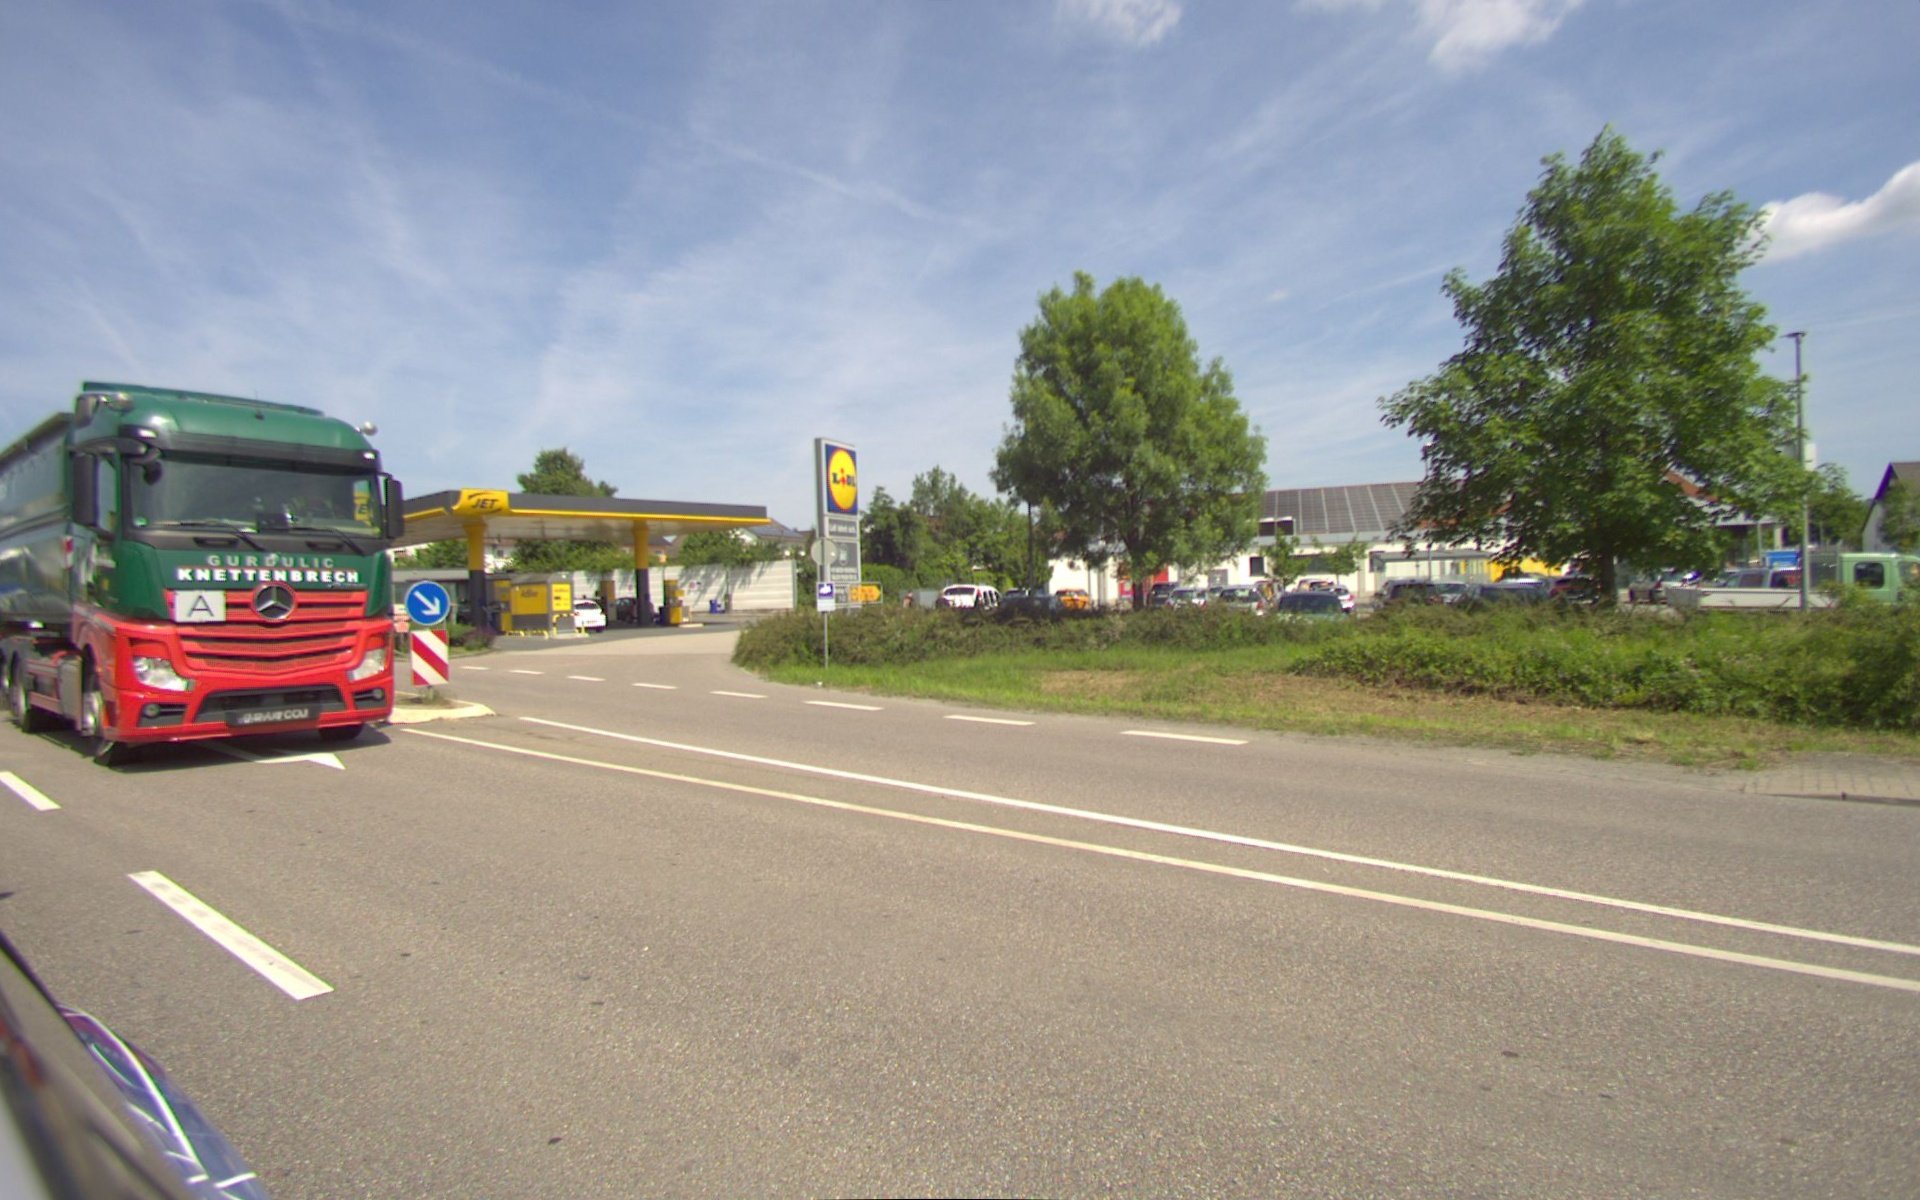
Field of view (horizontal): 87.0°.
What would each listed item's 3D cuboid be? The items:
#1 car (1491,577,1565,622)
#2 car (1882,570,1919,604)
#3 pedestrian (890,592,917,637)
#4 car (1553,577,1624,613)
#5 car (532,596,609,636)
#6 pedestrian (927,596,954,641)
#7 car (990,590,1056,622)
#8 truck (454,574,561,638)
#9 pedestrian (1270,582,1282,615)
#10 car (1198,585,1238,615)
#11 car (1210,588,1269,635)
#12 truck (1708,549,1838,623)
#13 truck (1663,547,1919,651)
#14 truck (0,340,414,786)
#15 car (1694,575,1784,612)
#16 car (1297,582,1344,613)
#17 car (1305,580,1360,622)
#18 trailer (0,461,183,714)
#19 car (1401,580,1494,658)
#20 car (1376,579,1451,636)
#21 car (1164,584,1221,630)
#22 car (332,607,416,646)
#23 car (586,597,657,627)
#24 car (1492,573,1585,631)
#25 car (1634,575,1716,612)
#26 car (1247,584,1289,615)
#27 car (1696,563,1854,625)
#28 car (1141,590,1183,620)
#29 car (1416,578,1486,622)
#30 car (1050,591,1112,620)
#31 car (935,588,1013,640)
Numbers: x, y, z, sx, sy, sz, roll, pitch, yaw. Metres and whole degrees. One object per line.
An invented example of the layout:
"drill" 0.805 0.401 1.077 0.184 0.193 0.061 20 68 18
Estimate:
"car" 20.593 -0.025 36.849 1.767 1.540 3.972 0 0 21
"car" 45.131 -0.594 46.079 4.223 1.553 1.869 0 0 18
"pedestrian" -2.030 0.530 36.355 0.692 1.587 0.812 0 -1 -23
"car" 28.475 -0.233 45.984 1.865 1.553 4.231 0 0 20
"car" -17.757 0.781 46.070 4.001 1.741 1.713 -2 -3 44
"pedestrian" -0.701 0.651 35.860 0.801 1.587 0.701 -1 0 13
"car" 3.431 0.308 54.496 1.765 1.551 3.956 -2 0 33
"truck" -22.099 0.265 49.309 6.278 2.944 2.222 0 0 40
"pedestrian" 14.891 -0.082 47.667 0.501 1.564 0.515 -1 0 16
"car" 13.321 -0.023 52.223 1.868 1.453 3.981 -1 1 15
"car" 9.890 0.367 35.590 1.769 1.513 4.122 -1 1 18
"truck" 27.880 -0.458 34.879 1.981 2.383 3.982 0 0 14
"truck" 21.569 -0.006 25.131 6.296 2.393 2.236 -1 -1 17
"truck" -10.646 -0.267 13.229 10.041 3.950 2.641 -1 0 40
"car" 33.923 -0.278 44.207 1.865 1.553 4.231 0 0 20
"car" 17.964 -0.165 50.559 1.868 1.453 3.981 -1 1 15
"car" 14.281 0.027 38.928 1.764 1.540 3.977 0 0 17
"trailer" -17.719 -0.146 19.320 8.662 3.950 2.773 -1 0 40
"car" 11.429 0.402 23.936 1.683 1.670 3.971 0 0 22
"car" 14.672 0.210 32.929 1.898 1.687 3.974 -1 1 20
"car" 9.345 0.238 40.473 1.850 1.688 4.399 -1 0 17
"car" -27.716 1.254 47.823 4.258 1.719 1.975 -2 -1 38
"car" -19.315 0.681 57.760 3.862 1.625 1.735 -1 -1 31
"car" 18.218 0.056 32.048 1.912 1.701 3.973 0 0 20
"car" 31.508 -0.275 44.752 1.865 1.553 4.231 0 0 20
"car" 15.558 -0.050 51.254 1.868 1.453 3.981 -1 1 15
"car" 24.226 -0.158 30.318 1.981 1.708 4.408 -1 0 14
"car" 10.476 0.232 52.282 1.868 1.453 3.981 -1 1 15
"car" 18.338 -0.008 37.923 1.764 1.540 3.977 0 0 17
"car" 6.522 0.284 54.305 1.879 1.453 3.958 -1 1 31
"car" 0.599 0.486 38.714 1.865 1.825 4.145 -1 0 17
